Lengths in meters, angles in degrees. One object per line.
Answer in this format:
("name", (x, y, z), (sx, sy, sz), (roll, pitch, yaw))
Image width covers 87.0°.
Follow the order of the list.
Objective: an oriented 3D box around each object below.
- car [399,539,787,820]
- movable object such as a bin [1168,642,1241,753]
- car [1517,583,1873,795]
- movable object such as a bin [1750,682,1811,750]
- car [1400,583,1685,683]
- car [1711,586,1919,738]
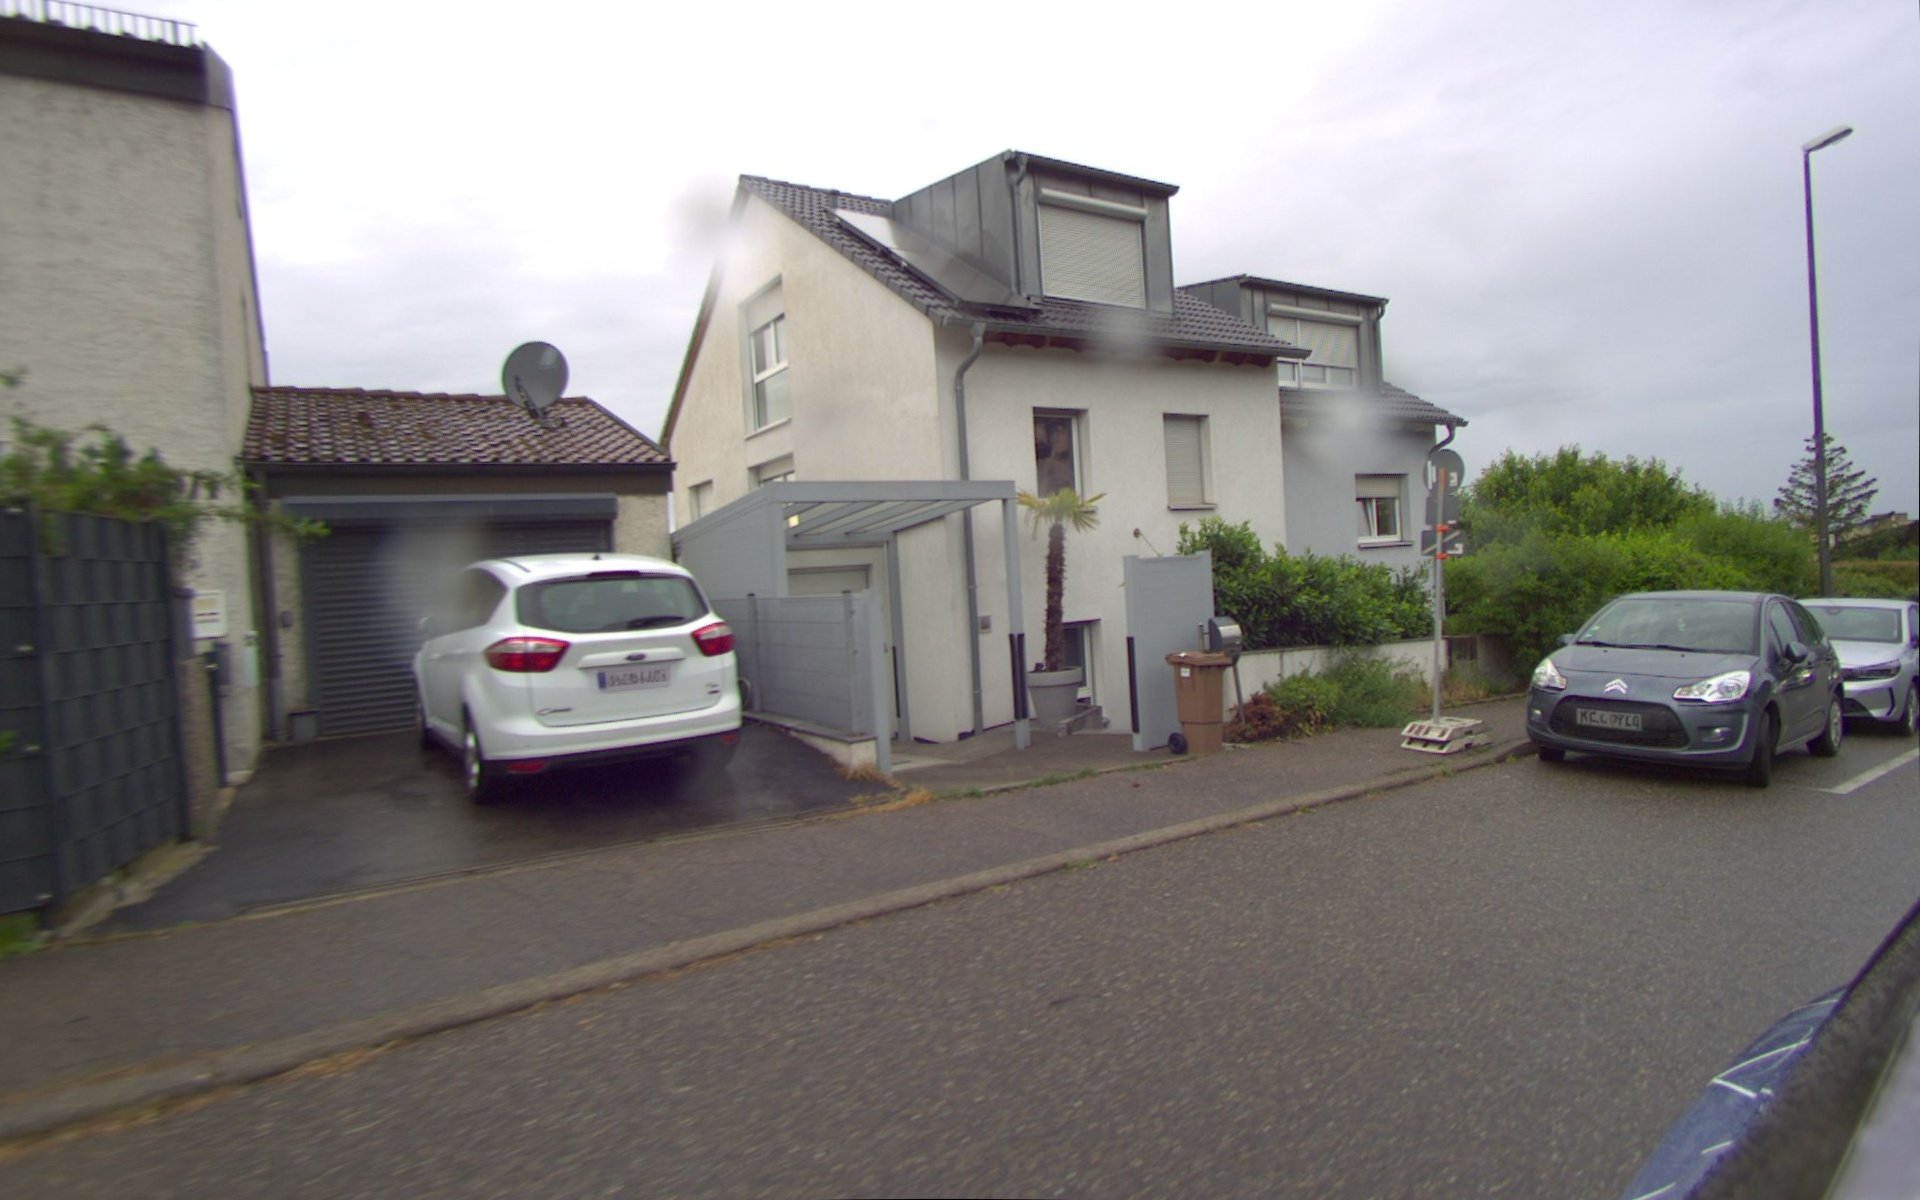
("car", (-3.110, 0.438, 8.005), (1.899, 1.609, 4.000), (-2, 1, -35))
("movable object such as a bin", (2.243, 0.877, 9.291), (0.490, 0.951, 0.433), (0, 0, -36))
("car", (6.688, 0.620, 9.090), (3.695, 1.485, 1.663), (0, 2, -39))
("movable object such as a bin", (14.351, 2.010, 17.712), (0.633, 1.081, 0.678), (0, 0, -34))
("car", (10.589, 0.663, 18.700), (1.960, 1.461, 4.000), (-1, -6, -31))
("car", (10.787, 0.609, 12.118), (4.156, 1.485, 1.774), (0, 2, -37))
